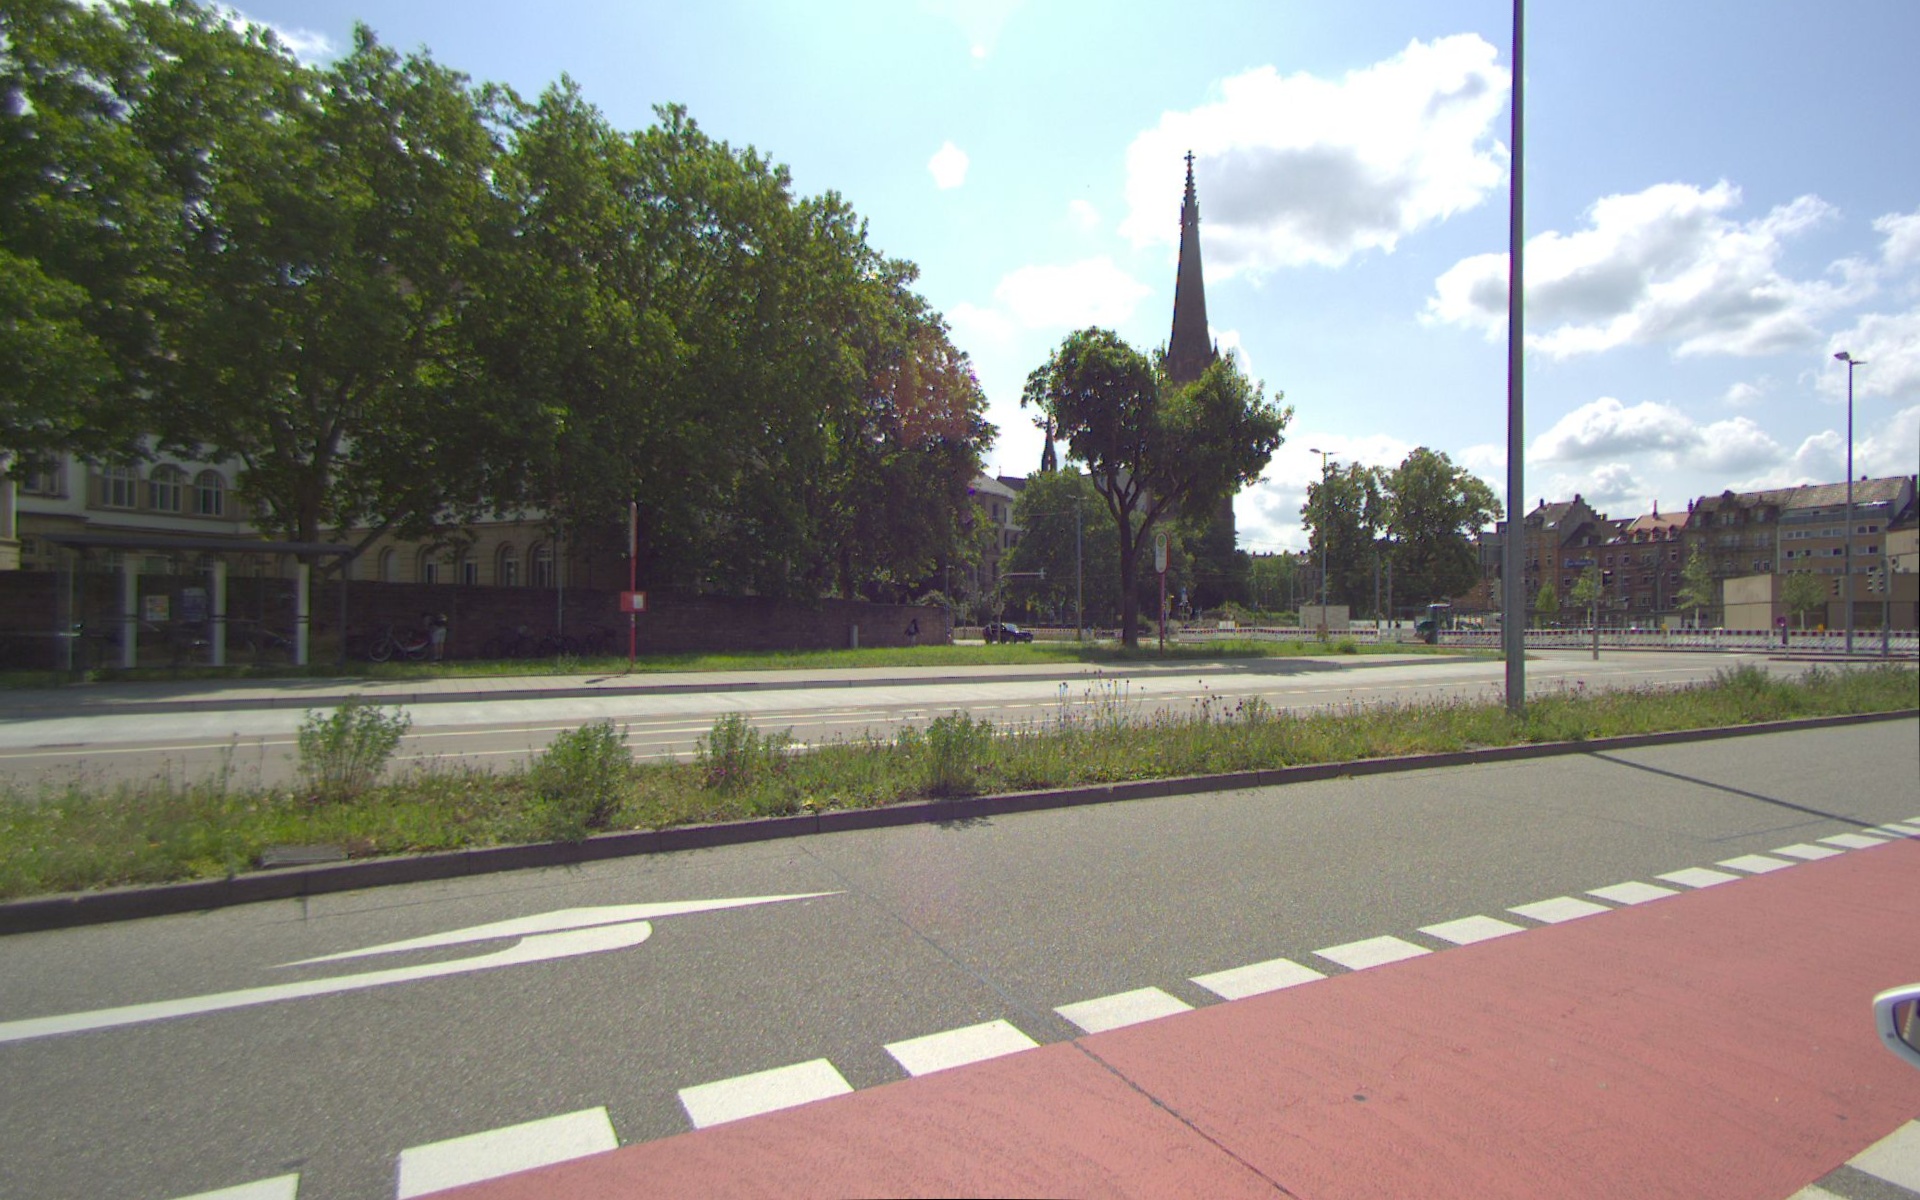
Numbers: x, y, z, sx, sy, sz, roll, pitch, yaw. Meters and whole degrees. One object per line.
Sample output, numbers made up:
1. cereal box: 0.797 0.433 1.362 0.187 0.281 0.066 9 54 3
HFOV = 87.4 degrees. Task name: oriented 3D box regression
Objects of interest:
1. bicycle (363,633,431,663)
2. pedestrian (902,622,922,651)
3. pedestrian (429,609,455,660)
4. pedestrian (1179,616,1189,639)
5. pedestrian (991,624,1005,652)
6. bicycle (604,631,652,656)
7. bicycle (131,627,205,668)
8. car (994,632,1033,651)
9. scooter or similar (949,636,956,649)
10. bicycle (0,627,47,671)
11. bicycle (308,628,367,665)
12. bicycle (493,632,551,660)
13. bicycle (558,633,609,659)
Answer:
1. bicycle: -16.239 1.378 29.010 0.324 0.828 1.743 0 -1 36
2. pedestrian: -2.419 1.826 50.307 0.720 1.413 0.714 1 -1 -35
3. pedestrian: -15.191 1.003 29.447 0.627 1.492 0.506 1 -1 -32
4. pedestrian: 20.086 2.491 90.056 0.642 2.040 0.626 1 -1 -35
5. pedestrian: 2.820 2.836 74.787 0.713 2.040 0.721 1 -1 -32
6. bicycle: -11.775 1.538 35.679 0.324 0.828 1.743 0 -1 36
7. bicycle: -19.417 1.156 24.643 0.260 0.977 1.391 0 -1 36
8. car: 4.268 3.308 80.327 1.487 1.416 3.444 1 -1 -31
9. scooter or similar: -0.437 2.477 58.980 0.117 0.721 1.005 0 -1 17
10. bicycle: -21.256 1.088 22.322 0.260 0.977 1.391 0 -1 36
11. bicycle: -17.159 1.264 27.713 0.260 0.977 1.391 0 -1 36
12. bicycle: -14.019 1.461 32.196 0.378 0.828 1.743 0 -1 36
13. bicycle: -12.780 1.550 34.152 0.324 0.828 1.743 0 -1 36
